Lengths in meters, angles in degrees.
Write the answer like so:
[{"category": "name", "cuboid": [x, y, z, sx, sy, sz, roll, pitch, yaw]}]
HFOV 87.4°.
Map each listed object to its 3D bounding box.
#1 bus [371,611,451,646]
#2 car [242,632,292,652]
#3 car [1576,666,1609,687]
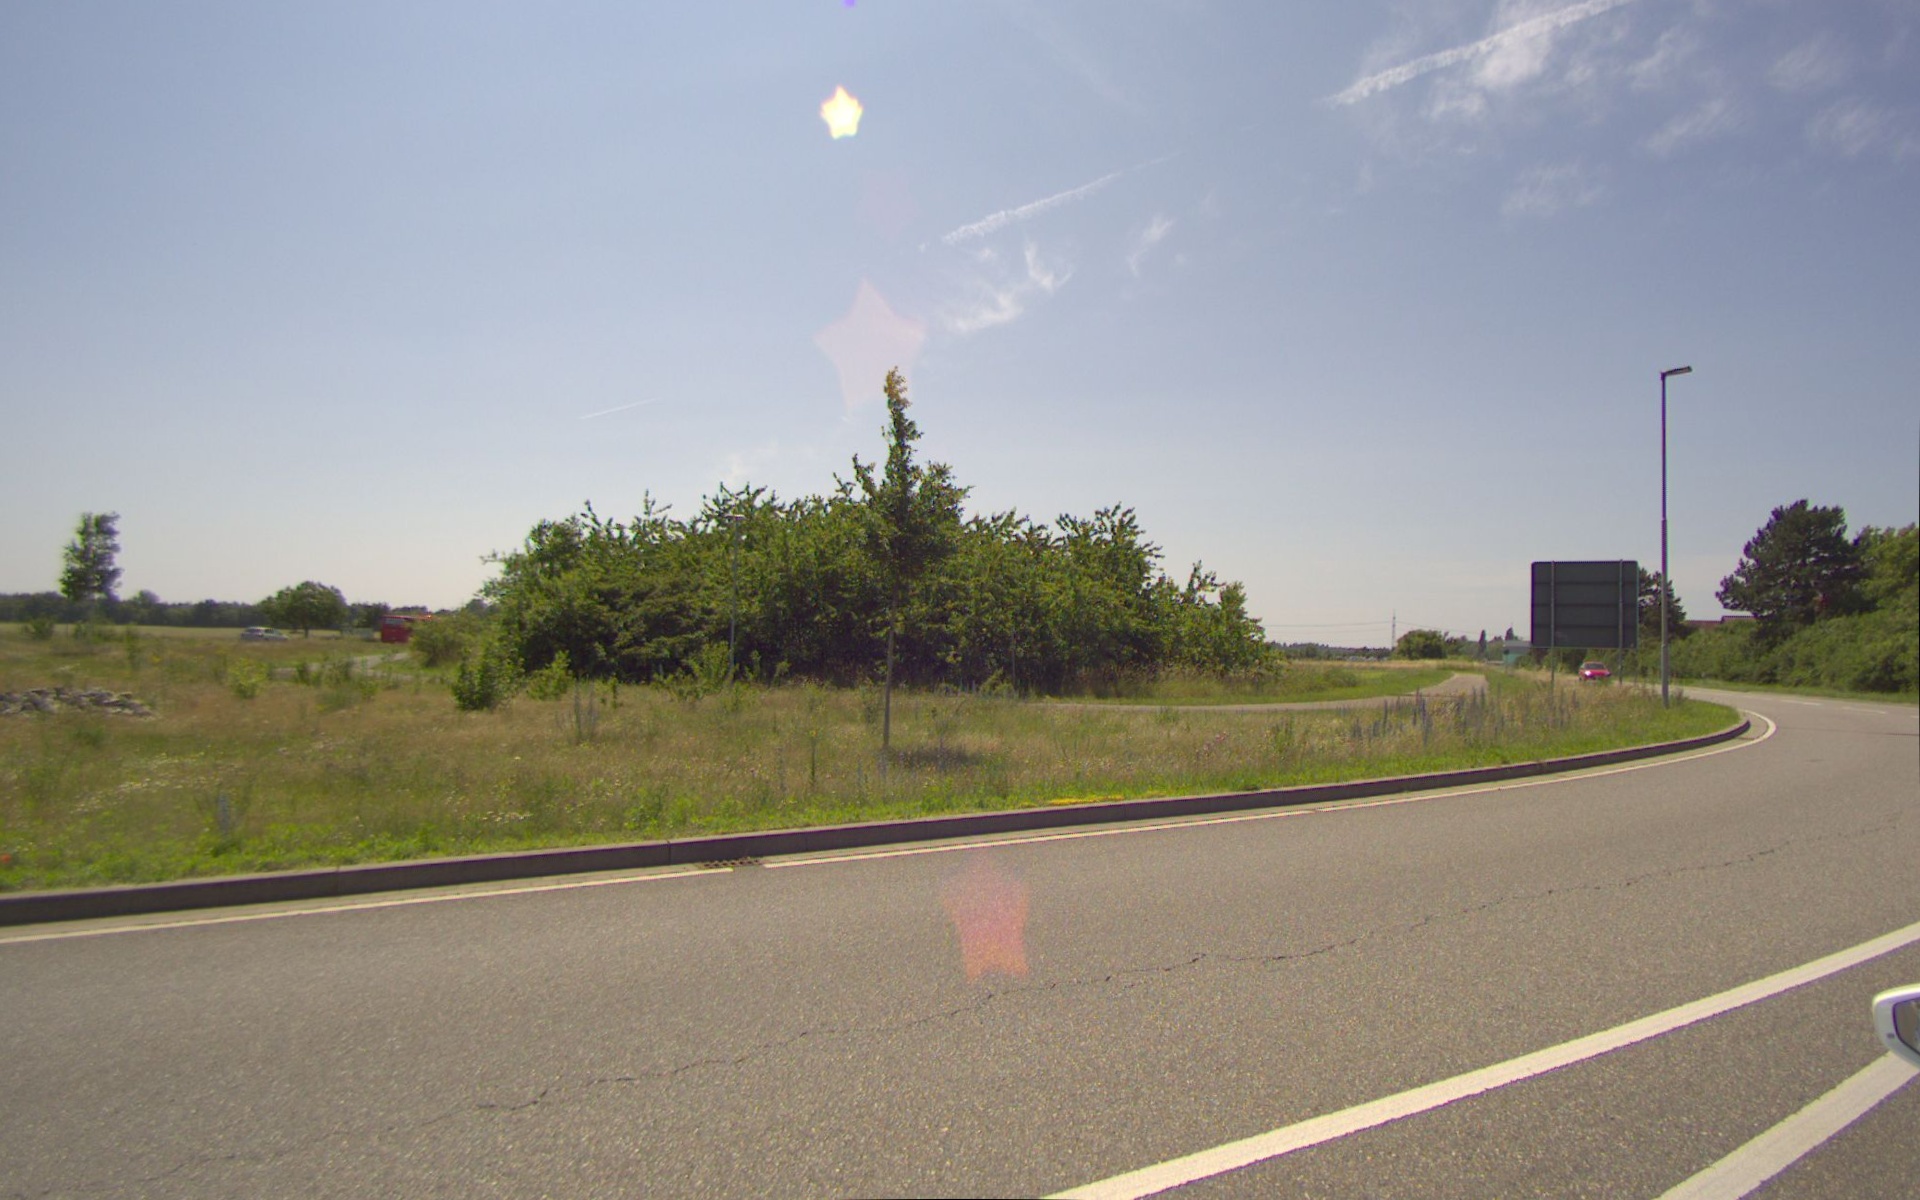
[{"category": "bus", "cuboid": [-57.151, 3.063, 105.089, 3.253, 3.352, 11.976, 2, -3, -8]}, {"category": "car", "cuboid": [-53.315, 3.233, 77.304, 1.698, 1.483, 3.597, 2, -3, -9]}, {"category": "car", "cuboid": [46.320, 5.560, 73.614, 1.629, 1.452, 3.734, -1, -4, 25]}]
